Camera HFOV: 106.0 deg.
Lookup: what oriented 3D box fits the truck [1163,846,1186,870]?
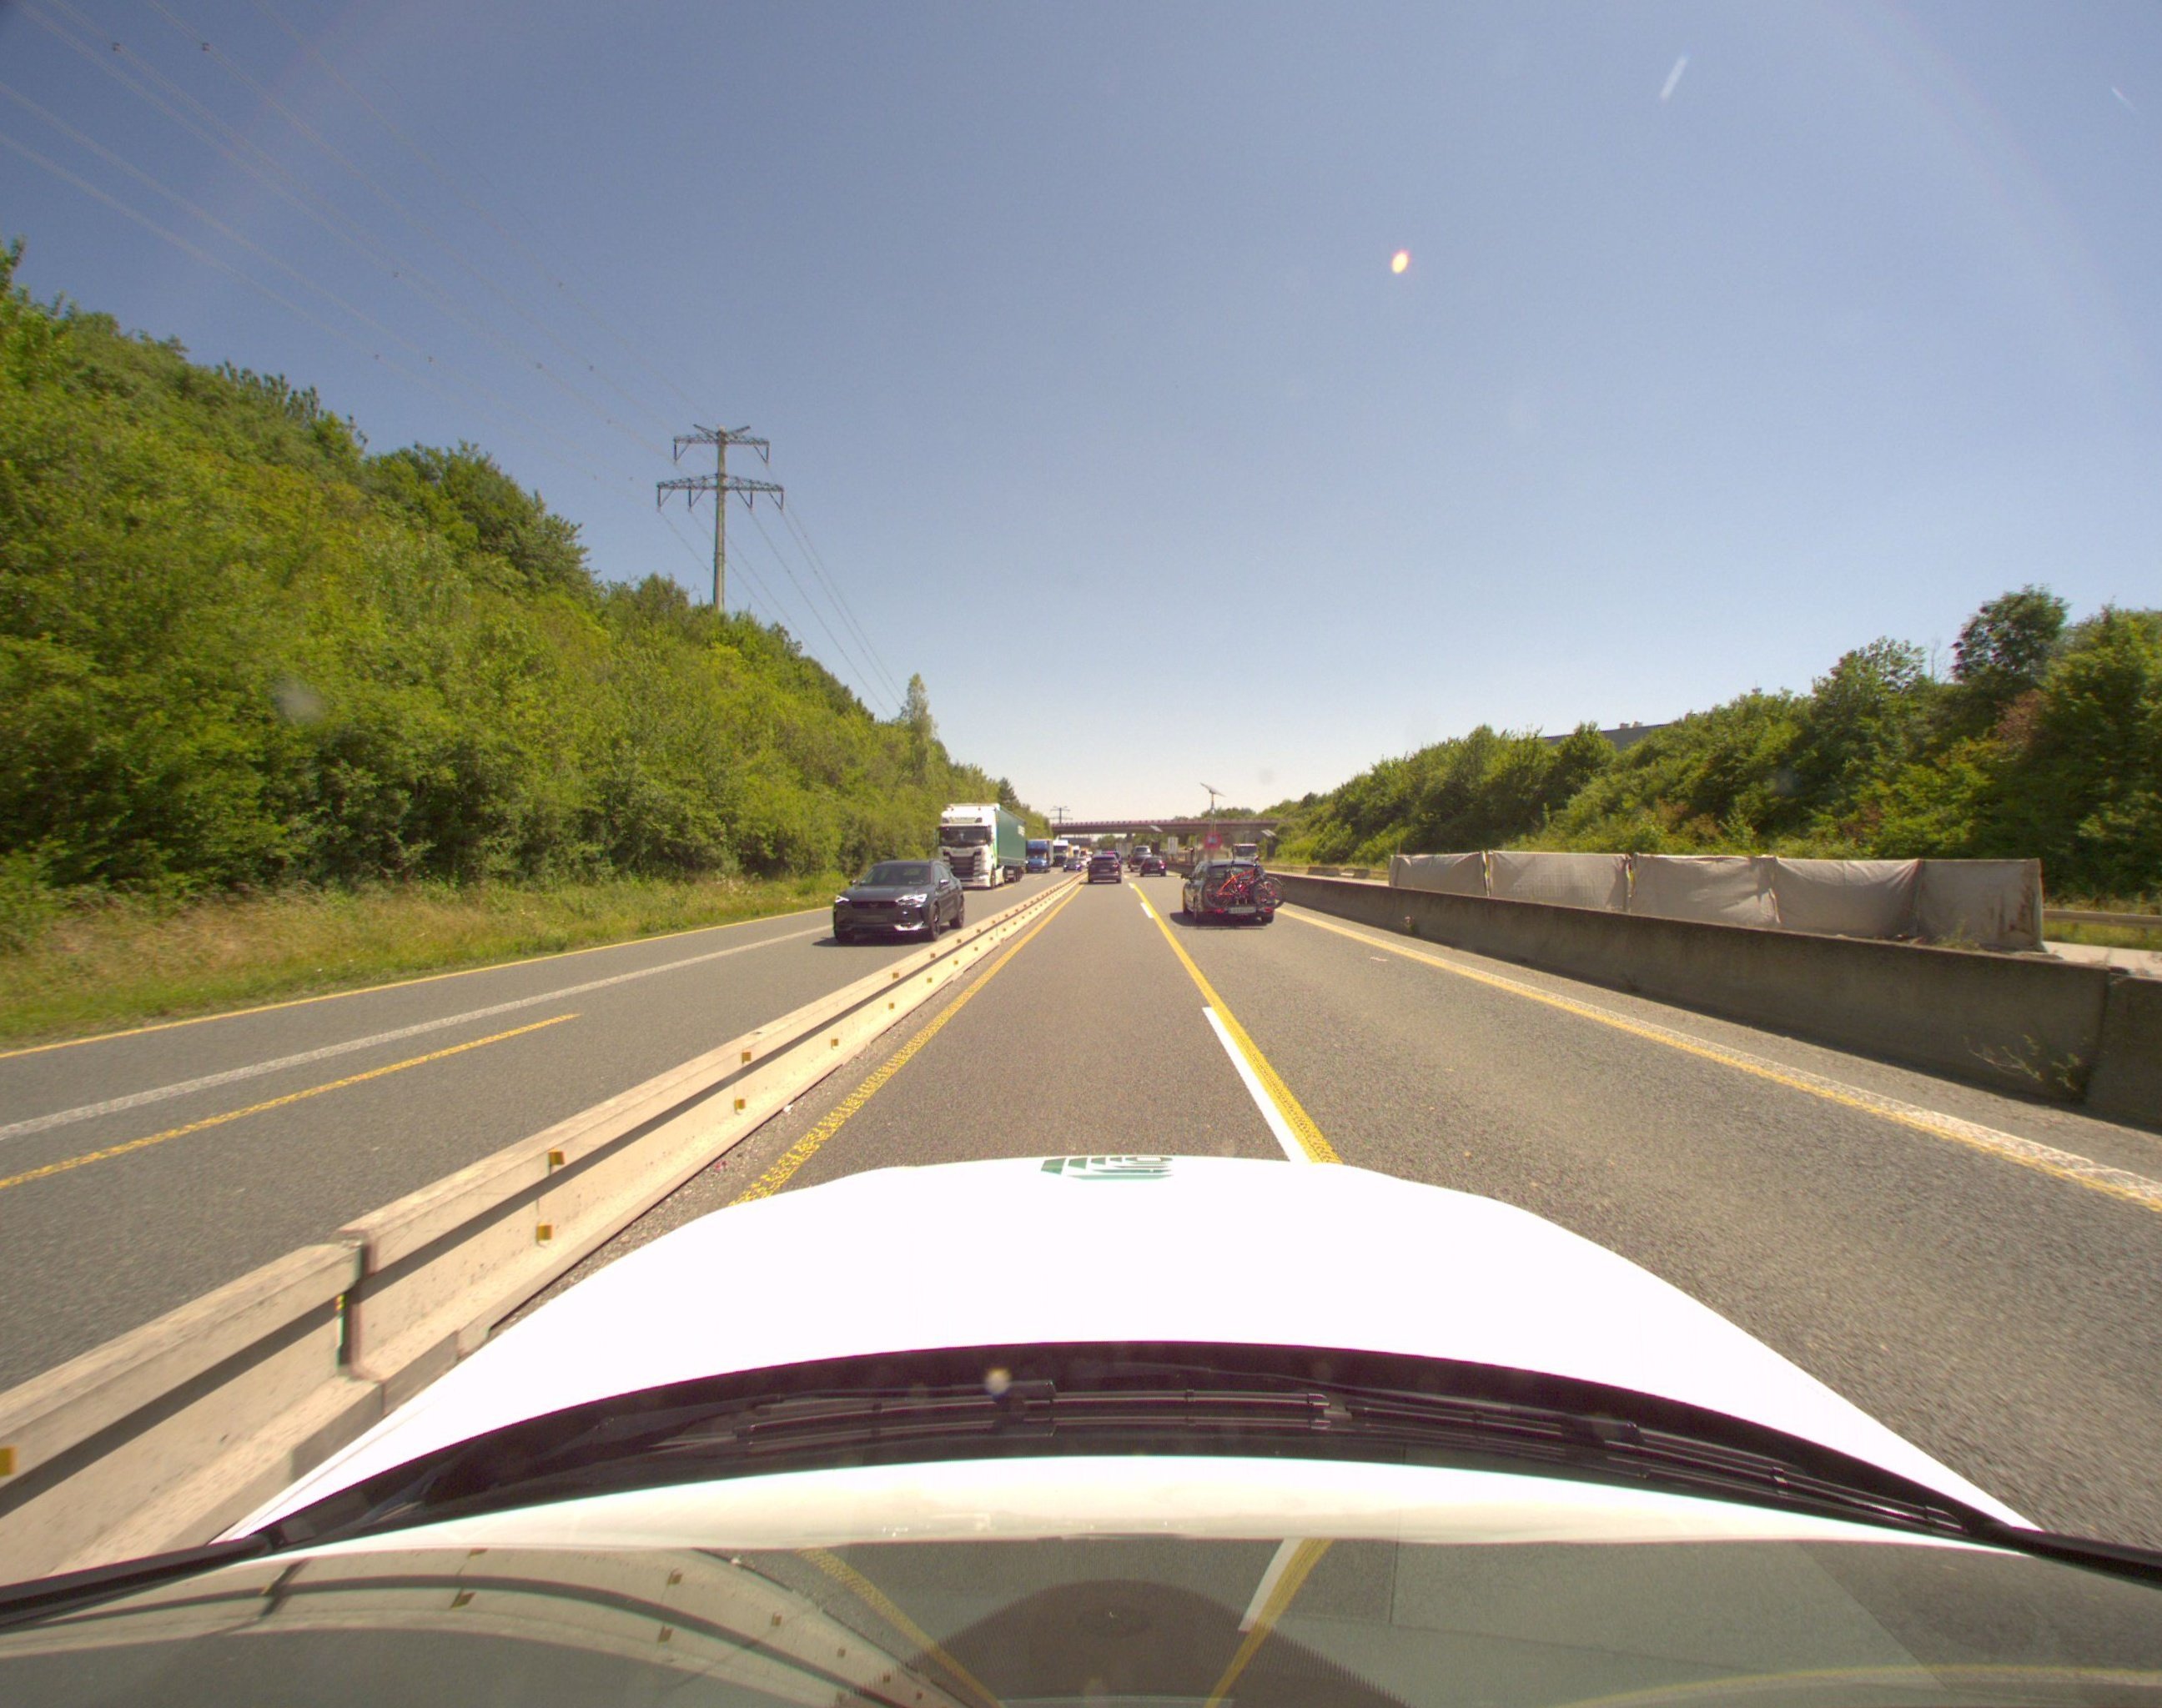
[{"bbox_3d":[14.867,0.625,129.925,2.677,3.557,9.408,-1,0,1],"label":"truck"}]

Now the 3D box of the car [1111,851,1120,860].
[{"bbox_3d":[7.666,0.408,180.840,1.892,1.968,4.279,-1,0,2],"label":"car"}]

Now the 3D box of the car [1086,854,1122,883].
[{"bbox_3d":[1.330,0.788,45.263,1.892,1.505,4.279,-1,0,2],"label":"car"}]

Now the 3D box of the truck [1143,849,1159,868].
[{"bbox_3d":[14.581,0.990,169.953,2.678,3.761,9.327,-1,0,1],"label":"truck"}]

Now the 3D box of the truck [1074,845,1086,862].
[{"bbox_3d":[-0.296,-0.164,193.010,2.400,3.992,10.358,0,0,2],"label":"truck"}]

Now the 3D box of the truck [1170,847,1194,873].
[{"bbox_3d":[14.619,0.807,118.447,2.677,3.557,9.606,-1,0,2],"label":"truck"}]

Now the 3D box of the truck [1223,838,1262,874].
[{"bbox_3d":[16.860,0.185,85.424,2.677,3.511,8.383,-1,0,2],"label":"truck"}]

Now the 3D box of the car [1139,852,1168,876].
[{"bbox_3d":[5.190,0.703,58.643,1.892,1.585,4.278,-1,0,2],"label":"car"}]

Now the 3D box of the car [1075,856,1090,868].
[{"bbox_3d":[0.220,1.049,105.024,1.835,1.490,4.512,-2,-1,2],"label":"car"}]

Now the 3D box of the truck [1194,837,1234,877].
[{"bbox_3d":[12.579,0.294,77.705,2.524,3.511,9.100,-1,0,2],"label":"truck"}]

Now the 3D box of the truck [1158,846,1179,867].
[{"bbox_3d":[15.220,0.478,141.832,2.678,3.557,9.326,-1,0,1],"label":"truck"}]

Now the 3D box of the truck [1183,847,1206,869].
[{"bbox_3d":[17.876,0.647,128.522,2.676,3.378,9.609,-1,0,3],"label":"truck"}]

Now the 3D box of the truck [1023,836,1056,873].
[{"bbox_3d":[-3.946,0.041,78.916,2.396,3.330,7.505,-1,0,3],"label":"truck"}]

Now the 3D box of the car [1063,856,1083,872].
[{"bbox_3d":[-0.735,0.982,81.437,1.754,1.490,4.404,-1,-1,3],"label":"car"}]

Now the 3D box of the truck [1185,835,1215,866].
[{"bbox_3d":[14.569,-0.422,100.259,2.529,3.557,9.606,-1,0,2],"label":"truck"}]

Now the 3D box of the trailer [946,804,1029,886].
[{"bbox_3d":[-5.183,-0.438,48.020,2.881,4.125,13.249,0,0,2],"label":"trailer"}]

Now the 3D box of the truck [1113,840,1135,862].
[{"bbox_3d":[7.693,-0.484,146.263,3.282,3.845,10.107,-1,0,0],"label":"truck"}]

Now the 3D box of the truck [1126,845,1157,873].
[{"bbox_3d":[5.643,0.447,77.117,2.397,2.558,7.500,-1,0,1],"label":"truck"}]

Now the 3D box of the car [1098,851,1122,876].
[{"bbox_3d":[2.417,0.747,67.289,1.892,1.968,4.279,-1,0,2],"label":"car"}]

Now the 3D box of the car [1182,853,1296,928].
[{"bbox_3d":[3.493,0.761,18.962,1.892,1.490,4.950,-1,-1,2],"label":"car"}]

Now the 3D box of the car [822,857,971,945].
[{"bbox_3d":[-3.495,0.822,16.270,1.892,1.505,4.277,-1,0,1],"label":"car"}]

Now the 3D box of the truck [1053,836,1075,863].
[{"bbox_3d":[-2.587,-0.644,124.358,2.639,3.992,9.656,1,0,3],"label":"truck"}]

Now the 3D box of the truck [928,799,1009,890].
[{"bbox_3d":[-5.433,-0.422,40.432,2.884,4.118,6.022,-1,0,2],"label":"truck"}]

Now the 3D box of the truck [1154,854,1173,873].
[{"bbox_3d":[15.353,1.721,151.447,2.678,3.557,9.326,-1,0,1],"label":"truck"}]
